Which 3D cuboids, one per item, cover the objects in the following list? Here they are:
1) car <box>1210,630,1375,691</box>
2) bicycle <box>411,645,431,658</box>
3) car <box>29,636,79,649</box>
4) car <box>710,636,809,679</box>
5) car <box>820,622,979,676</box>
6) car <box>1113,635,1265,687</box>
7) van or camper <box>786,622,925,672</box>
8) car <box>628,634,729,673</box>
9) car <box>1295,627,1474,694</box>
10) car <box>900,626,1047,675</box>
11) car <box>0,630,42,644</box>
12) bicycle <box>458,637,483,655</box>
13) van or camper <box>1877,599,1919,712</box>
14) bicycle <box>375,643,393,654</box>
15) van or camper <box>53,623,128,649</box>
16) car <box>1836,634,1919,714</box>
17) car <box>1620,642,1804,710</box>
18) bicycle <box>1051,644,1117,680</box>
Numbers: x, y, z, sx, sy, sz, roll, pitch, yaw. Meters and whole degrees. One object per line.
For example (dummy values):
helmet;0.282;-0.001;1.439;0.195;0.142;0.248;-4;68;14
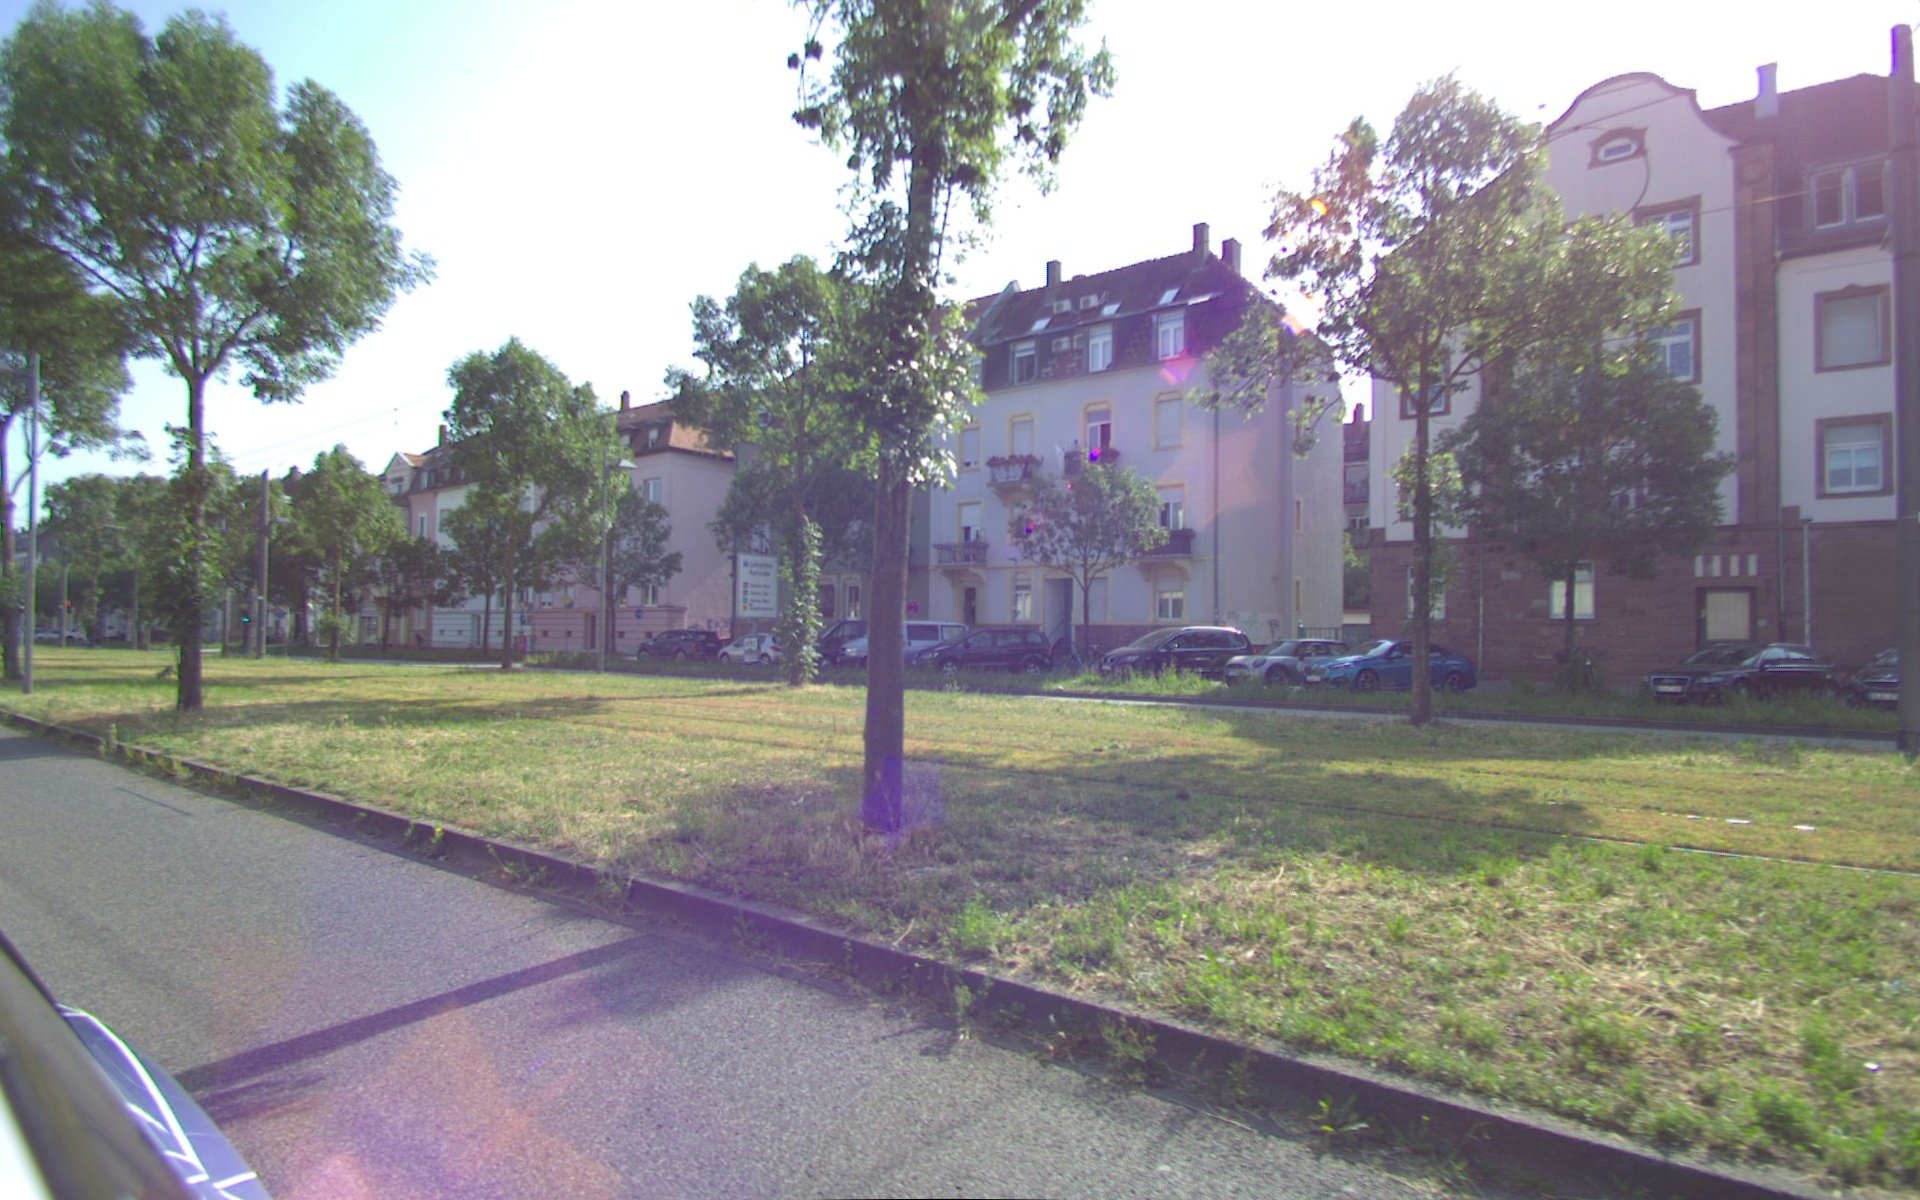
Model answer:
car;8.810;1.576;26.839;3.932;1.427;1.582;-1;0;-17
bicycle;-37.043;3.518;69.575;1.944;0.863;0.443;-1;0;37
car;-105.083;4.910;117.387;3.946;1.326;1.667;-1;0;-17
car;-8.510;2.406;42.902;4.150;1.641;1.872;-1;-1;38
car;-2.107;1.649;35.068;5.132;1.636;2.063;-1;0;-19
car;6.502;1.695;28.821;3.931;1.278;1.644;-1;0;-19
van or camper;-3.870;1.705;37.477;4.767;1.636;2.009;-1;0;-19
car;-13.022;2.426;46.690;4.767;1.641;1.975;-1;-1;37
car;10.353;1.437;24.702;3.931;1.427;1.582;-1;0;-19
car;0.409;1.616;33.077;4.400;1.430;1.981;-1;0;-16
car;-125.612;4.923;134.542;4.867;1.739;1.862;-1;0;-17
bicycle;-31.541;2.945;65.207;1.944;1.136;0.598;-1;0;37
van or camper;24.823;1.247;22.520;6.347;2.586;2.020;-1;0;38
bicycle;-41.892;3.528;73.567;1.944;0.795;0.433;-1;0;37
van or camper;-94.358;3.870;109.924;5.825;2.593;2.206;-1;0;-17
car;18.401;1.354;19.028;3.110;1.336;1.501;-1;0;-18
car;15.262;1.506;20.571;3.110;1.169;1.502;-1;0;-19
bicycle;3.833;1.903;31.446;1.991;1.057;0.463;-1;0;25
